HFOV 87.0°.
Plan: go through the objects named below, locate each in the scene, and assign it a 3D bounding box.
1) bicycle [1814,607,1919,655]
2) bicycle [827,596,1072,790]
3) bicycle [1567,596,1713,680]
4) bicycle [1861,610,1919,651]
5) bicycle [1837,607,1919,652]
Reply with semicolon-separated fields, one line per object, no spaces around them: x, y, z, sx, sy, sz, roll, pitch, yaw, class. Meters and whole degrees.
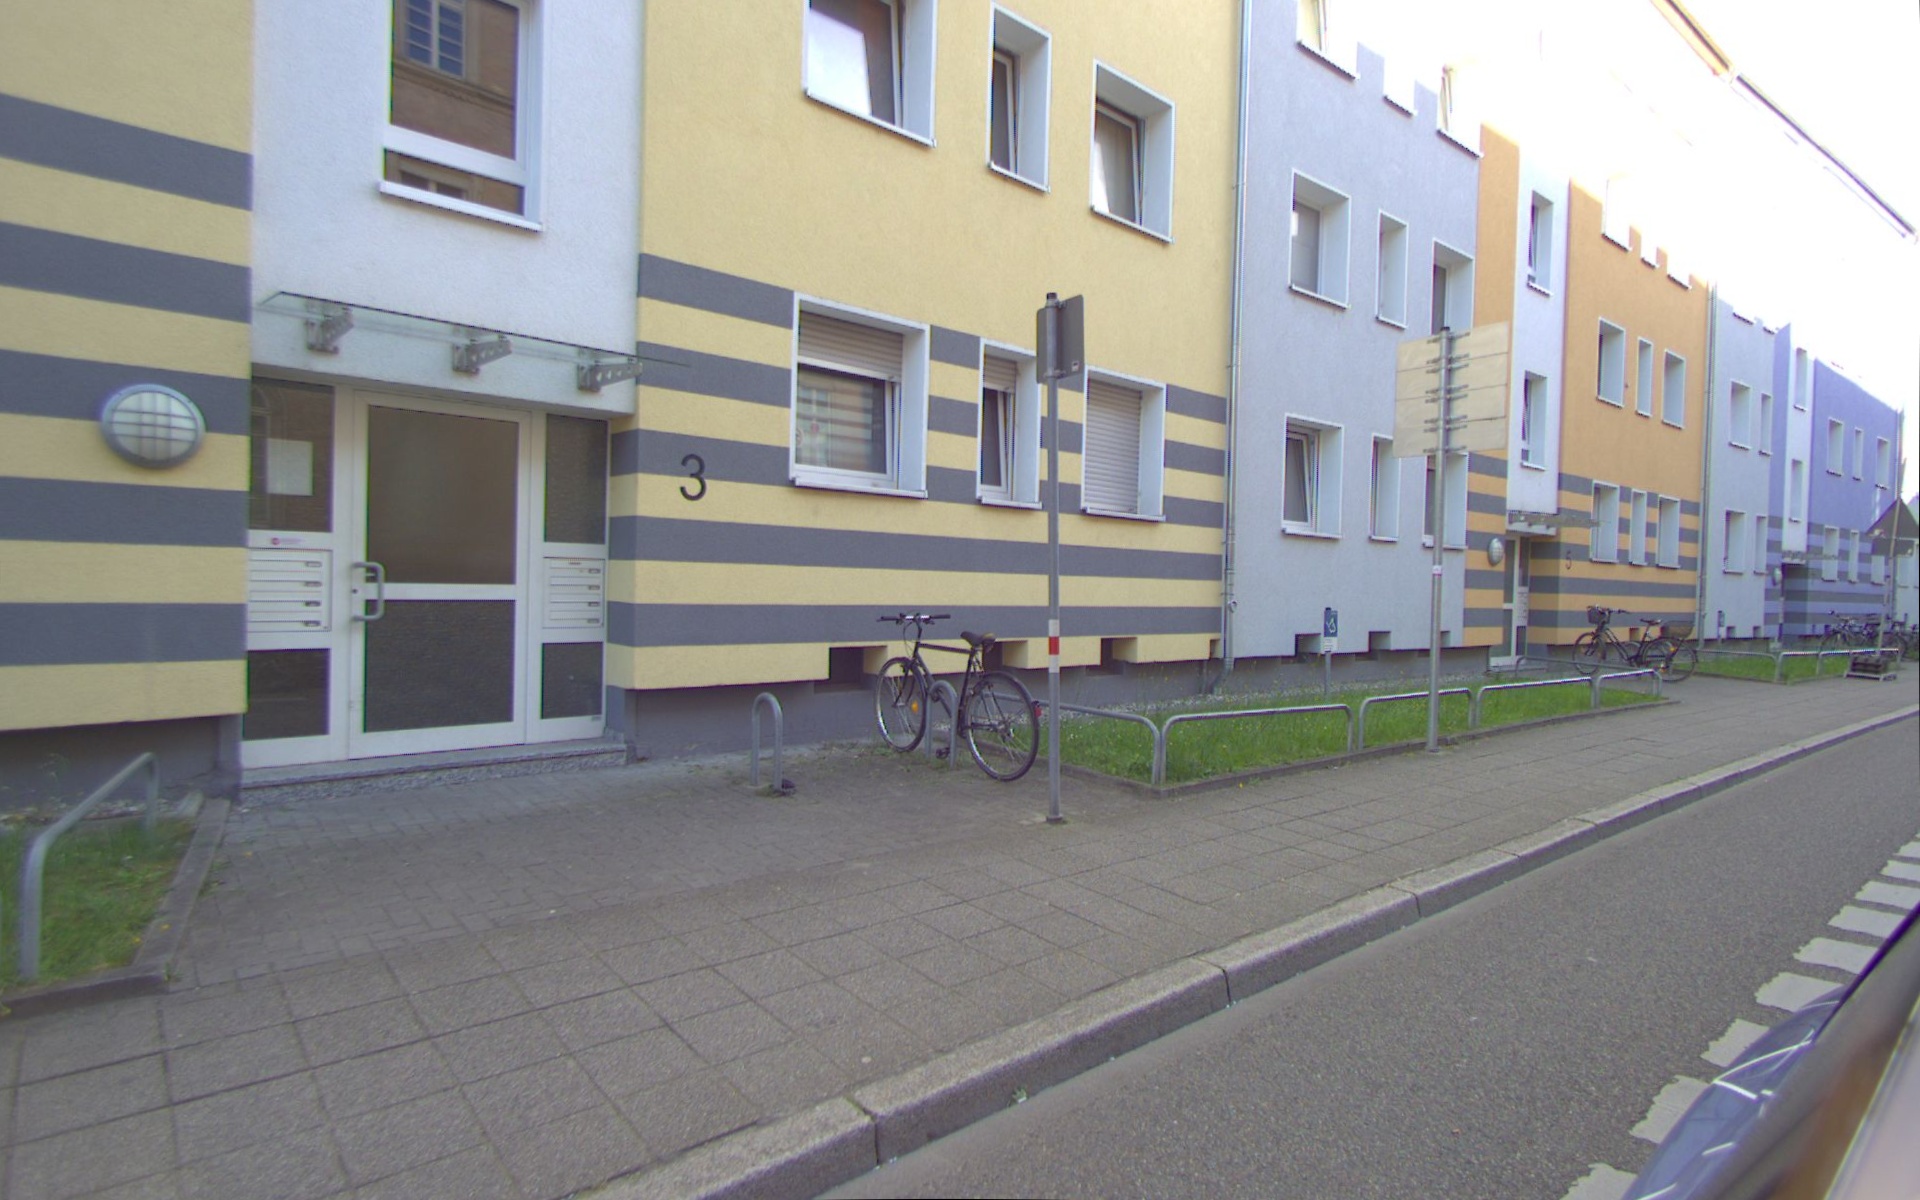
22.187;0.730;24.810;0.572;1.007;1.779;1;3;-33;bicycle
-0.125;0.558;6.931;1.773;1.061;0.574;5;4;45;bicycle
10.688;0.568;15.952;0.574;1.138;1.775;0;4;-42;bicycle
24.053;0.789;25.587;0.572;0.950;1.779;1;3;-33;bicycle
23.351;0.733;25.479;0.572;1.007;1.779;1;3;-33;bicycle
